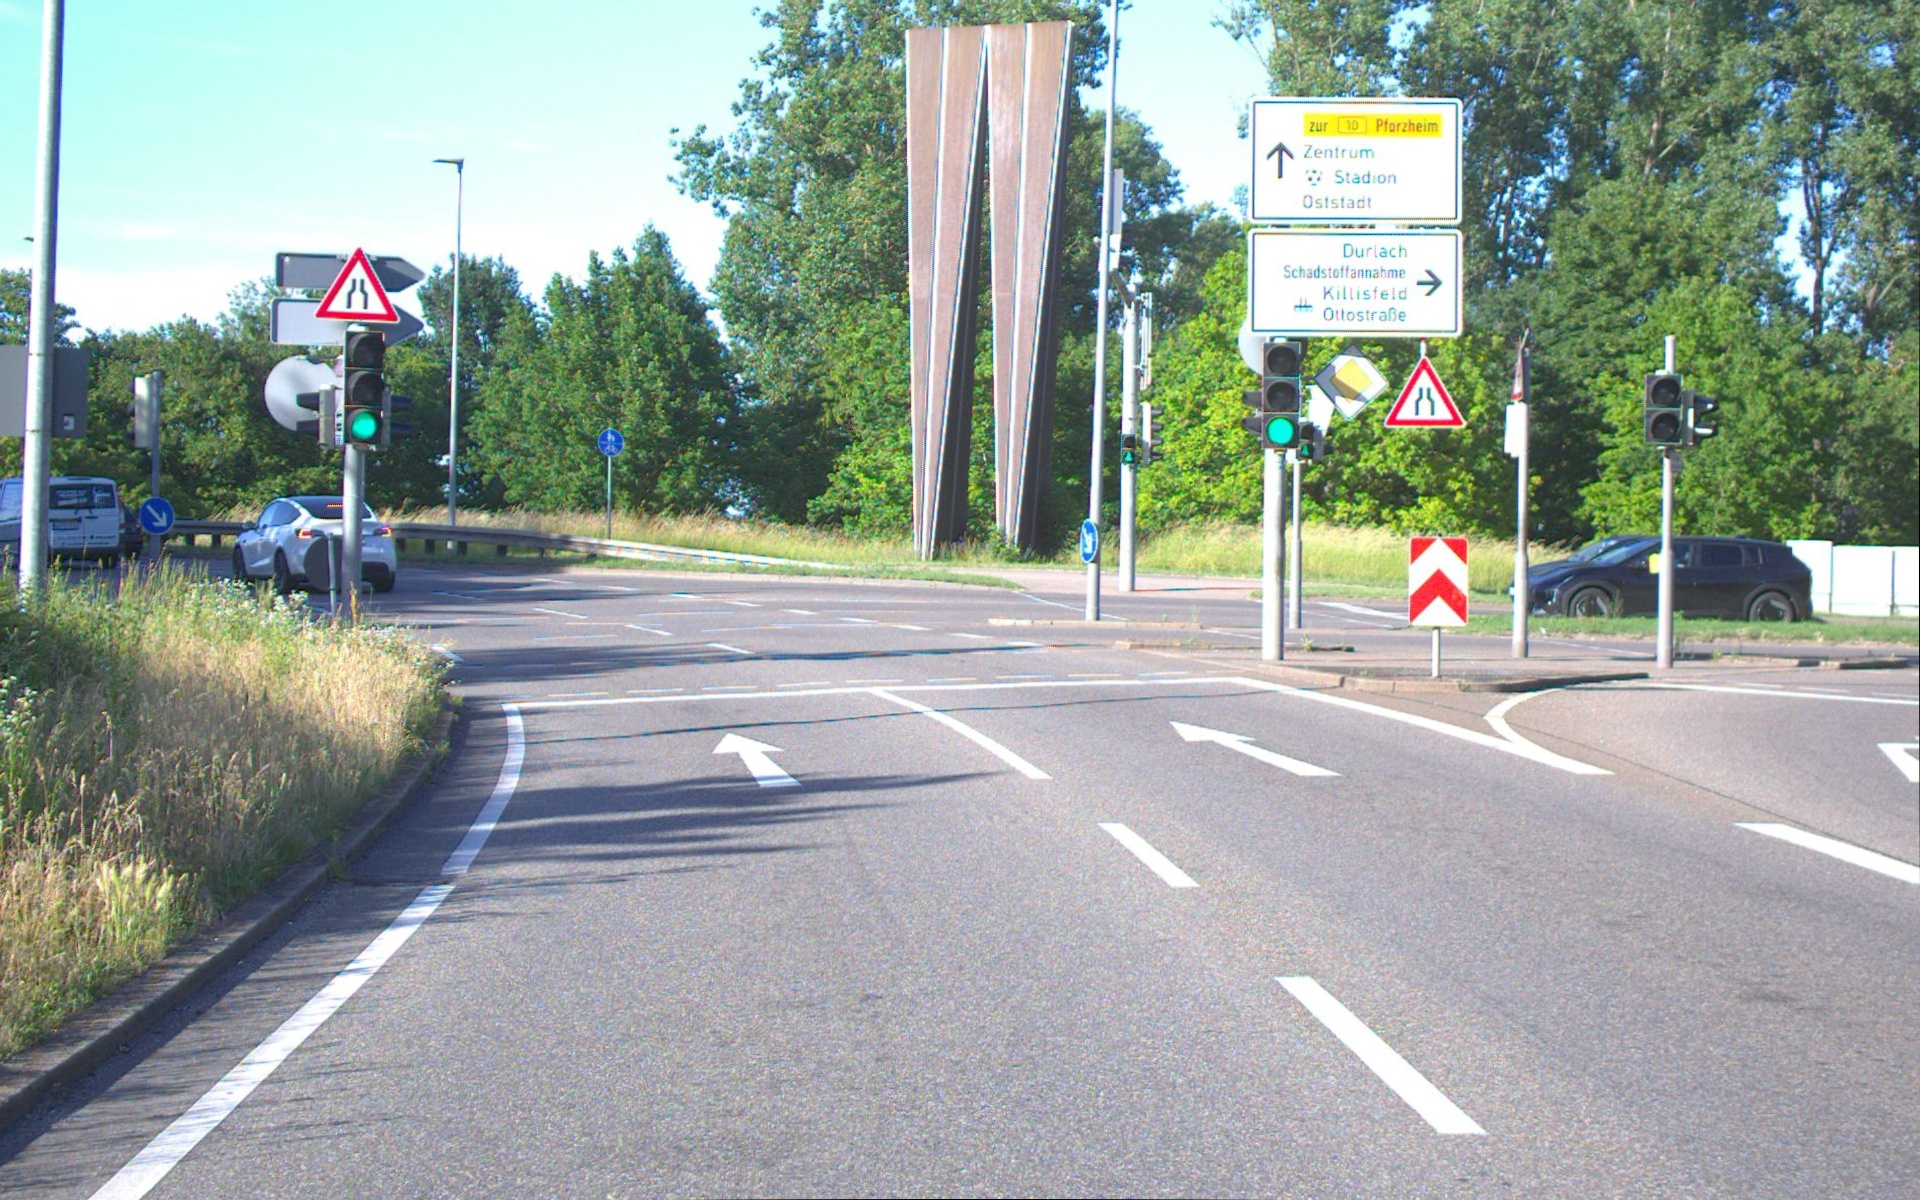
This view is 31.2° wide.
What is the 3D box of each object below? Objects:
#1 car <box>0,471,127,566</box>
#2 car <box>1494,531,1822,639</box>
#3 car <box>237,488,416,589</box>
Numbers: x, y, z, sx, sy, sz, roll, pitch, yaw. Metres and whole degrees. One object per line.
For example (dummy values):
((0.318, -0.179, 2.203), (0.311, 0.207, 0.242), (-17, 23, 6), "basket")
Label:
((-18.835, -1.685, 71.057), (1.993, 1.873, 4.249), (1, 1, -30), "car")
((10.601, -0.243, 52.396), (4.457, 1.459, 2.001), (2, 2, -6), "car")
((-10.928, -1.072, 59.084), (1.993, 1.634, 4.129), (1, 1, -25), "car")
